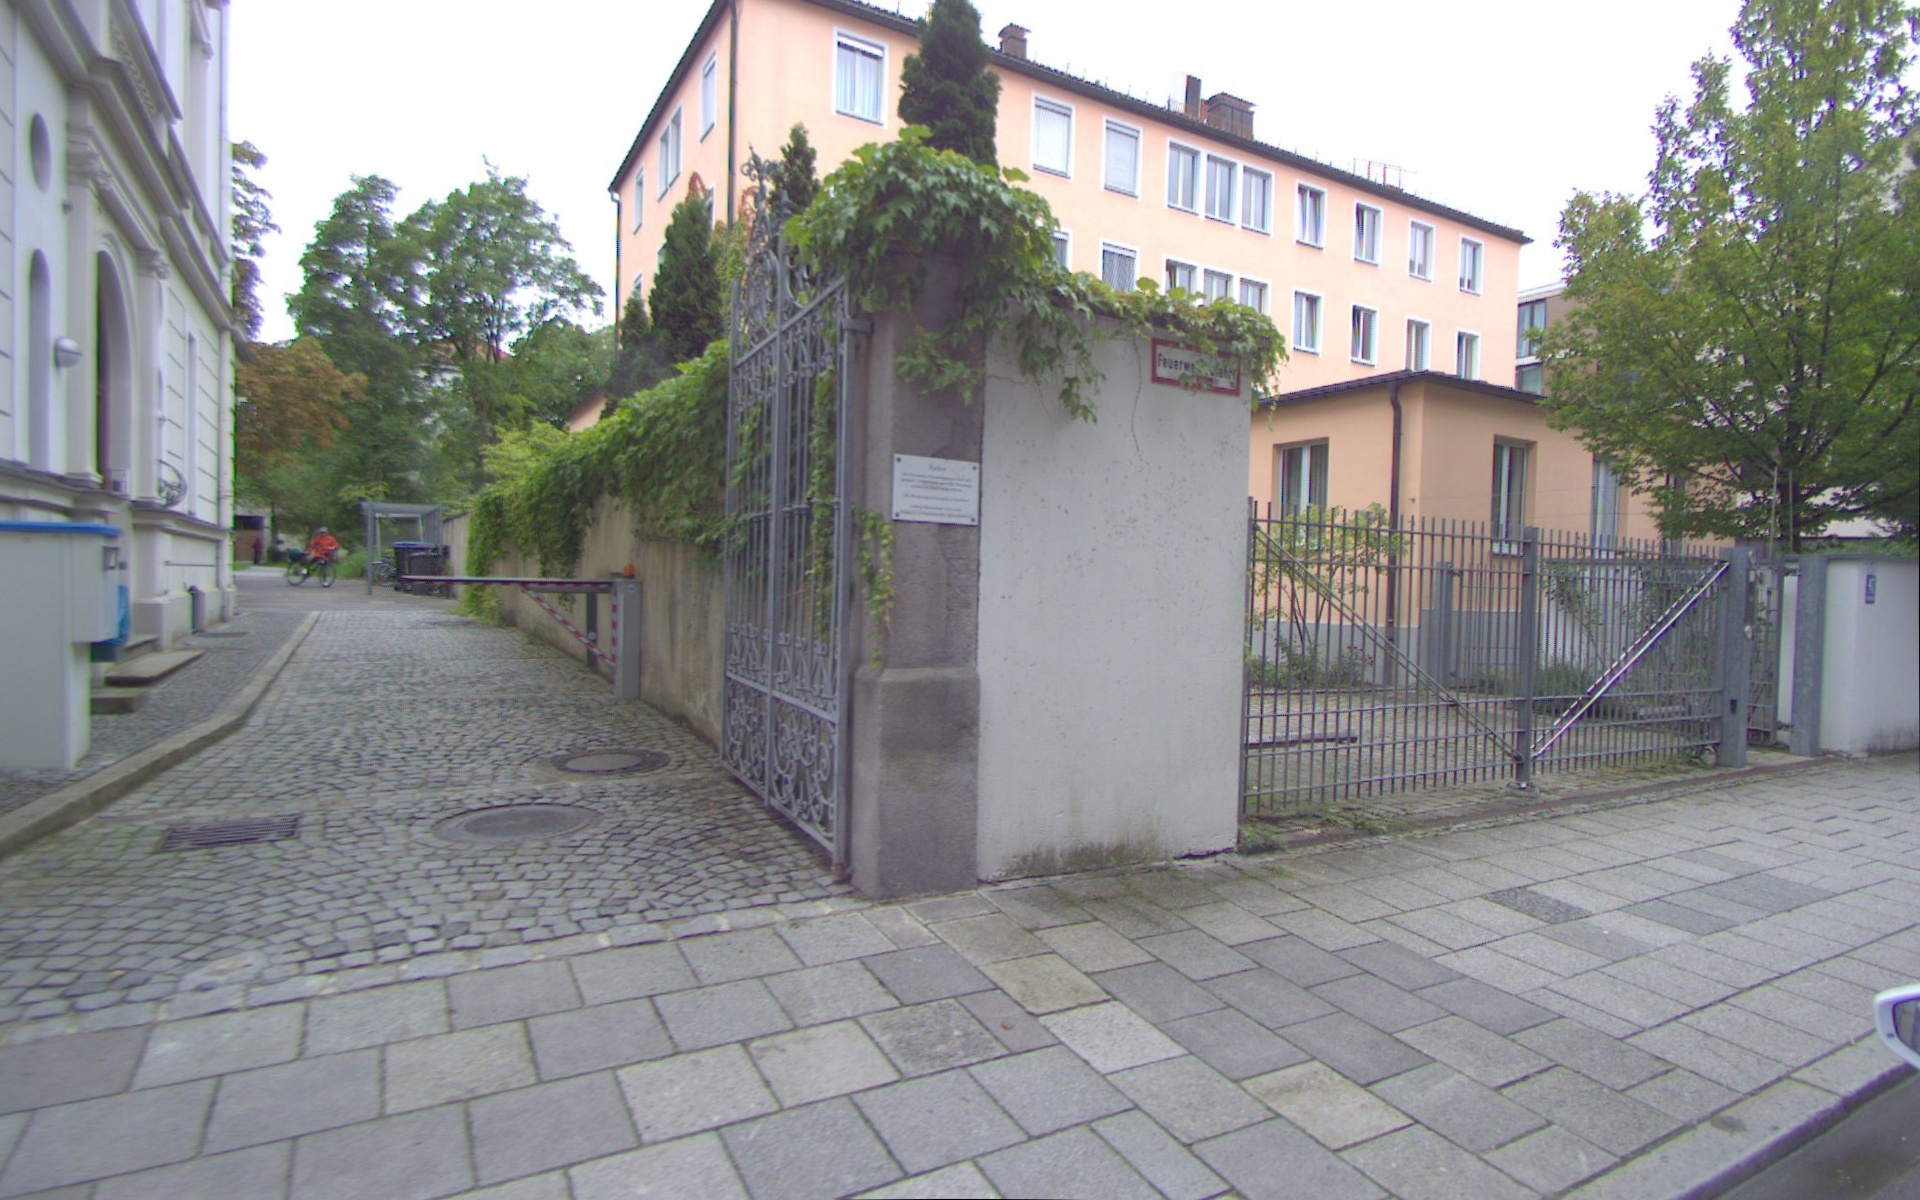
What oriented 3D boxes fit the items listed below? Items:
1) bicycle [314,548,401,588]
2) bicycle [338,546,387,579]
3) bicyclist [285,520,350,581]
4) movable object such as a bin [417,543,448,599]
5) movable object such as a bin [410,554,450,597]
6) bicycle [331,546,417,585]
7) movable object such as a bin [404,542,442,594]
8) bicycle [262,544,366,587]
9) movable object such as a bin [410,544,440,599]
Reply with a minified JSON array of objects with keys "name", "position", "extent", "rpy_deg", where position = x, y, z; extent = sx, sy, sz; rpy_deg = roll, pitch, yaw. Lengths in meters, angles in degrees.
[{"name":"bicycle","position":[-17.953,-0.950,29.947],"extent":[2.244,1.095,0.643],"rpy_deg":[2,2,5]},{"name":"bicycle","position":[-21.750,-1.357,36.583],"extent":[1.518,1.143,0.536],"rpy_deg":[1,2,-30]},{"name":"bicyclist","position":[-18.247,-1.397,28.547],"extent":[1.207,1.662,0.982],"rpy_deg":[2,2,16]},{"name":"movable object such as a bin","position":[-12.668,-0.684,24.134],"extent":[0.617,1.312,0.566],"rpy_deg":[2,0,-30]},{"name":"movable object such as a bin","position":[-13.377,-0.625,25.359],"extent":[0.857,1.029,0.755],"rpy_deg":[1,2,-30]},{"name":"bicycle","position":[-17.905,-1.042,30.705],"extent":[2.244,1.095,0.698],"rpy_deg":[2,2,5]},{"name":"movable object such as a bin","position":[-14.177,-0.831,26.511],"extent":[0.857,1.322,0.756],"rpy_deg":[1,1,-30]},{"name":"bicycle","position":[-18.373,-0.971,28.587],"extent":[2.633,1.128,0.982],"rpy_deg":[2,2,16]},{"name":"movable object such as a bin","position":[-13.149,-0.698,24.697],"extent":[0.617,1.312,0.471],"rpy_deg":[2,0,-30]}]
